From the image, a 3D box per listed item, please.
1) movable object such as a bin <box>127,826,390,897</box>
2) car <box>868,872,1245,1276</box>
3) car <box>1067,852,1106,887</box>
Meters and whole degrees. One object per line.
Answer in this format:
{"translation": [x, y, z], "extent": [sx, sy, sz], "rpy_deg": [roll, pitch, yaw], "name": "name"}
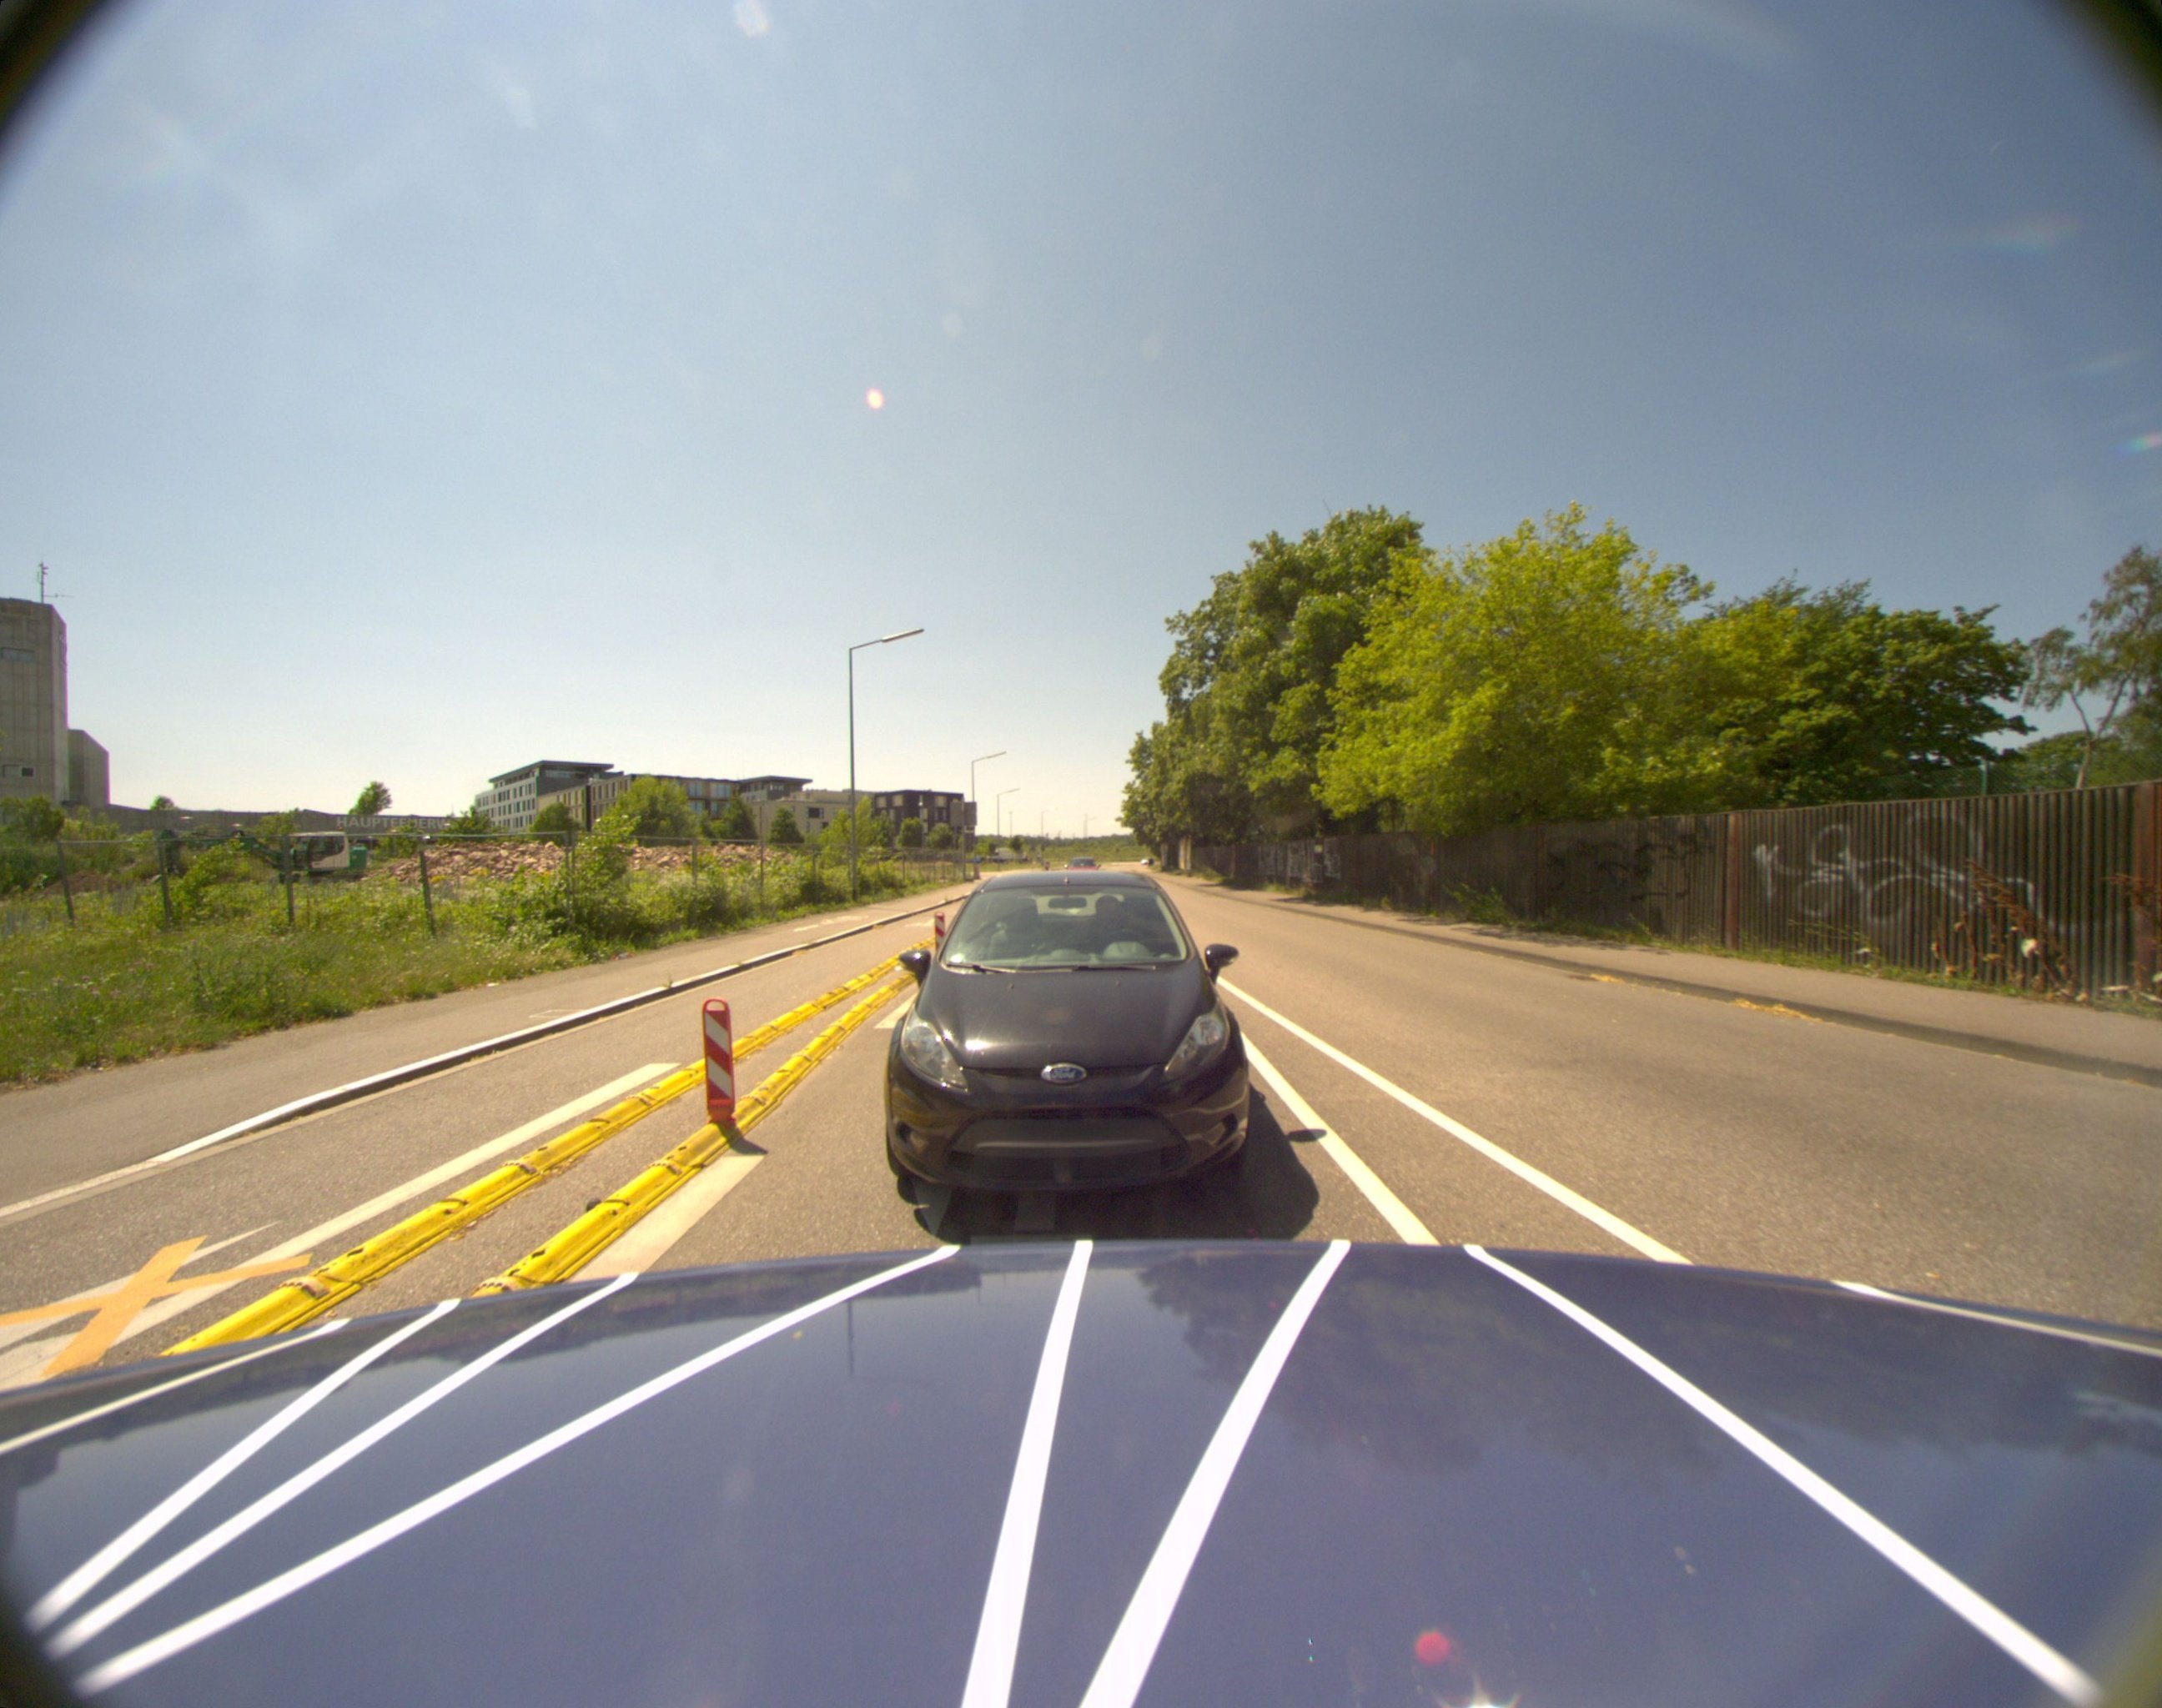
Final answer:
{"translation": [-38.349, 0.255, 35.967], "extent": [3.231, 2.899, 7.702], "rpy_deg": [-2, 1, 15], "name": "movable object such as a bin"}
{"translation": [-0.075, 0.979, 5.190], "extent": [1.528, 1.510, 3.999], "rpy_deg": [-2, 1, 1], "name": "car"}
{"translation": [0.325, 0.790, 40.992], "extent": [1.924, 1.643, 4.668], "rpy_deg": [-2, 1, 1], "name": "car"}
